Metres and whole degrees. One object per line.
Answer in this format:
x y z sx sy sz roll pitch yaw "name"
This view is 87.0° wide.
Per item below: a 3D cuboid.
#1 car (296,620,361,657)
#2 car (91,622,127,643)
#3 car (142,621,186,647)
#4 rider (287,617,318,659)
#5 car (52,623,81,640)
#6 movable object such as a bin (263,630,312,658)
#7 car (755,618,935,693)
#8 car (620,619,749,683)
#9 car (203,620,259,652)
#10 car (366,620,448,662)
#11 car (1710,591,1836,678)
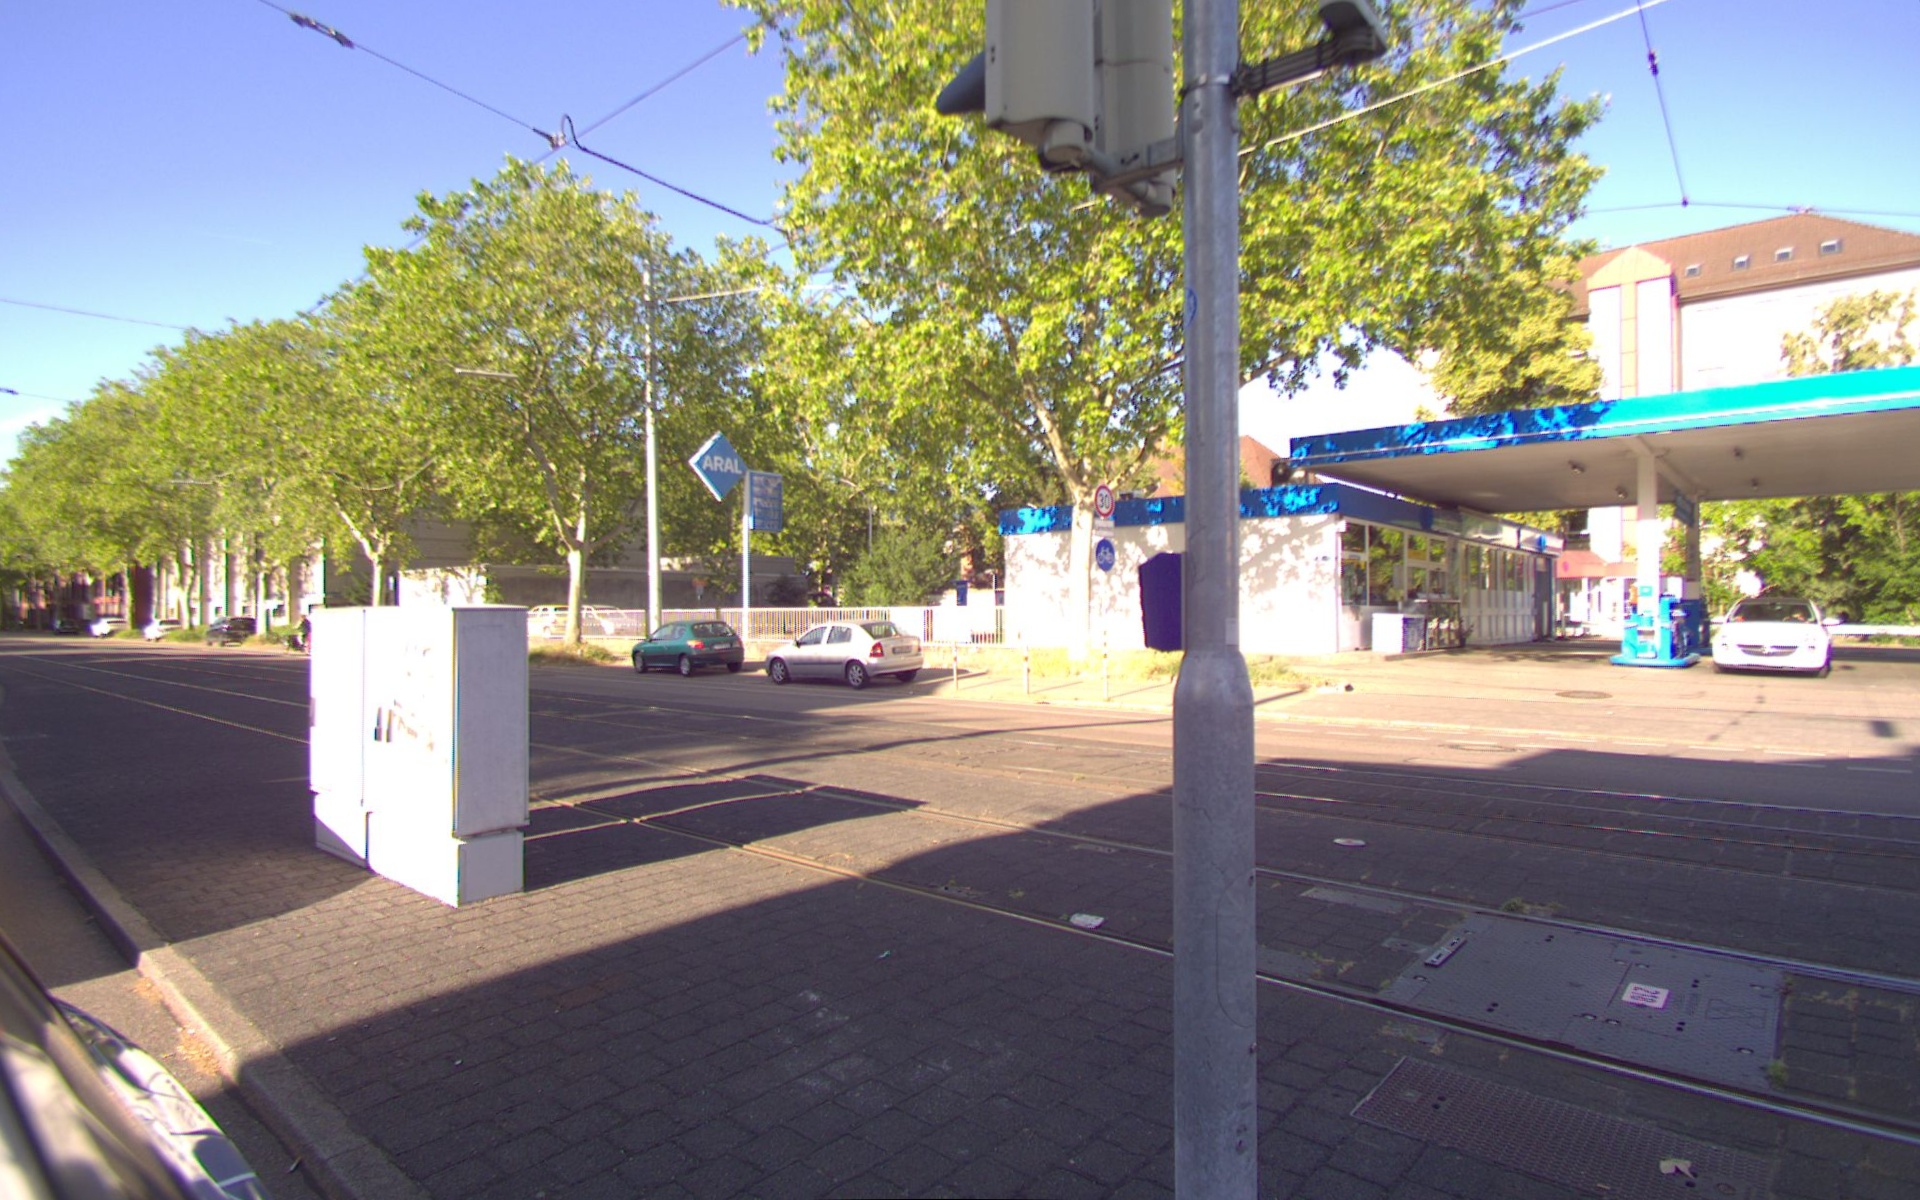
-28.731 1.704 45.996 3.377 1.506 1.639 -1 2 43 "car"
-66.783 2.503 79.415 3.731 1.471 1.639 -1 2 43 "car"
-53.696 2.287 68.248 3.878 1.552 1.731 -1 2 43 "car"
-26.882 1.536 41.395 1.104 1.660 0.717 -1 0 36 "rider"
-85.031 3.014 96.335 3.731 1.471 1.639 -1 2 43 "car"
-27.983 1.821 42.095 1.831 1.111 1.164 -1 0 36 "movable object such as a bin"
-2.626 1.187 22.600 3.987 1.376 1.666 -2 3 41 "car"
-7.350 1.298 26.857 3.606 1.455 1.598 -1 2 43 "car"
-40.719 1.985 56.508 3.878 1.603 1.731 -1 2 43 "car"
-21.828 1.567 39.898 3.769 1.455 1.701 -1 2 43 "car"
15.889 0.600 19.711 1.743 1.446 3.882 -1 1 41 "car"
